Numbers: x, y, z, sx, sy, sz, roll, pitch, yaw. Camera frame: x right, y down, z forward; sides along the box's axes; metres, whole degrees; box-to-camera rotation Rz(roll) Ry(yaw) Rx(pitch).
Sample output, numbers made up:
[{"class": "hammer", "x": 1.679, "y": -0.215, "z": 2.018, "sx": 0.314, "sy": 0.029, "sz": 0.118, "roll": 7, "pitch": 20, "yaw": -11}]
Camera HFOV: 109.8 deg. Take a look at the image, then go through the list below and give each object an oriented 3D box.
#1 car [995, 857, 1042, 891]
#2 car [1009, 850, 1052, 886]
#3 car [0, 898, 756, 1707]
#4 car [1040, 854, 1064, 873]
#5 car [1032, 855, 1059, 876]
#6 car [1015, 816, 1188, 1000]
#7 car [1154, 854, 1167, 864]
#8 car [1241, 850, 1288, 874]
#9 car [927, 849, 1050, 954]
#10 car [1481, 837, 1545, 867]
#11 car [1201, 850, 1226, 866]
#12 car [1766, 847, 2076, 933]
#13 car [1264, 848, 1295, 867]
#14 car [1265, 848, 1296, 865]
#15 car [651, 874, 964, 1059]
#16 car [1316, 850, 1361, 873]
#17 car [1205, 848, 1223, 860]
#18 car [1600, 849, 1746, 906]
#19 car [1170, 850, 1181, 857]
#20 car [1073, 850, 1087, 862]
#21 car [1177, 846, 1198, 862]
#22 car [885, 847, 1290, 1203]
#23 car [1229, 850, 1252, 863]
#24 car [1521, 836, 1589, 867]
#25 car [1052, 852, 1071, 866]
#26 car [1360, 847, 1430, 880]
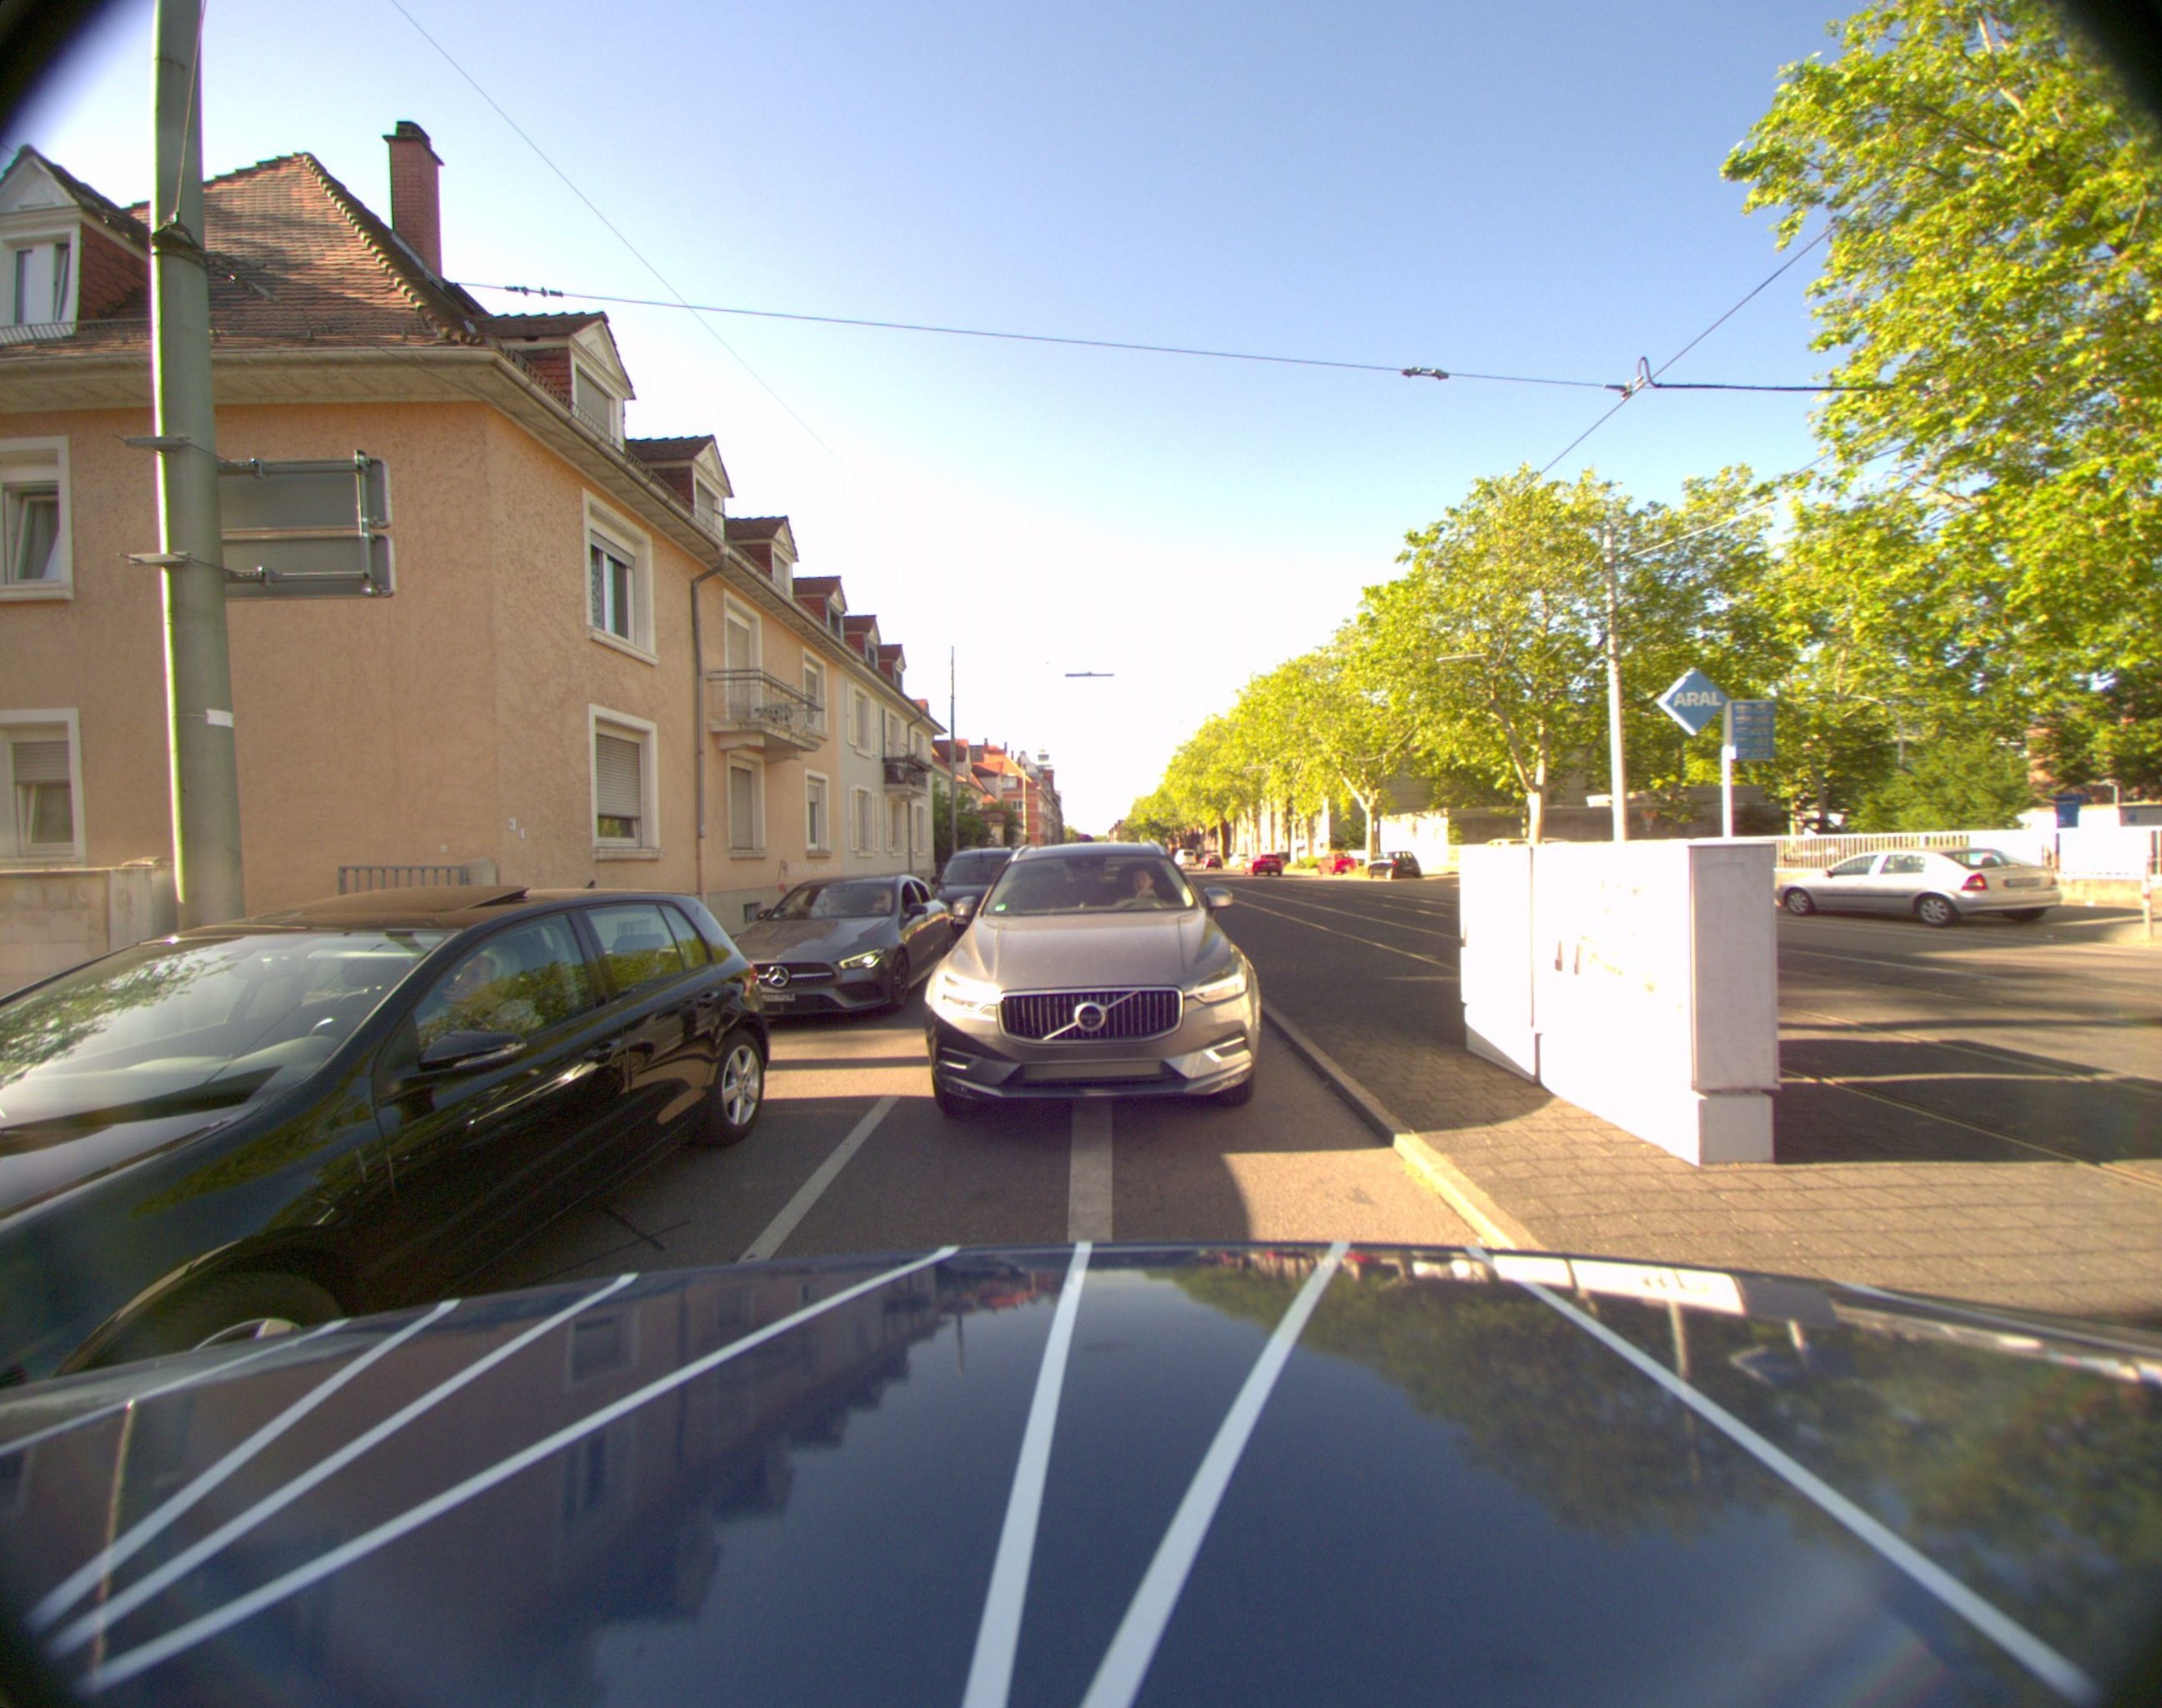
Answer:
[{"class": "car", "x": -2.971, "y": 0.921, "z": 36.674, "sx": 1.841, "sy": 1.449, "sz": 3.999, "roll": -2, "pitch": 1, "yaw": 1}, {"class": "car", "x": -2.887, "y": 0.749, "z": 45.096, "sx": 1.937, "sy": 1.888, "sz": 7.210, "roll": -2, "pitch": 1, "yaw": 1}, {"class": "car", "x": -2.917, "y": 1.010, "z": 2.650, "sx": 1.733, "sy": 1.499, "sz": 4.051, "roll": -2, "pitch": -1, "yaw": 1}, {"class": "car", "x": -2.527, "y": 0.805, "z": 66.993, "sx": 1.841, "sy": 1.449, "sz": 3.999, "roll": -2, "pitch": 1, "yaw": 1}, {"class": "car", "x": -2.823, "y": 0.888, "z": 60.583, "sx": 1.841, "sy": 1.449, "sz": 3.999, "roll": -2, "pitch": 1, "yaw": 1}, {"class": "car", "x": 0.242, "y": 0.599, "z": 11.117, "sx": 1.912, "sy": 2.048, "sz": 4.763, "roll": -2, "pitch": 1, "yaw": 0}, {"class": "car", "x": 13.581, "y": 0.847, "z": 129.459, "sx": 1.764, "sy": 1.487, "sz": 3.999, "roll": -2, "pitch": 1, "yaw": 1}, {"class": "car", "x": 11.984, "y": 0.479, "z": 49.925, "sx": 1.912, "sy": 1.514, "sz": 4.763, "roll": 0, "pitch": 1, "yaw": 0}, {"class": "car", "x": -1.745, "y": 0.828, "z": 15.953, "sx": 1.866, "sy": 1.794, "sz": 4.778, "roll": -2, "pitch": 1, "yaw": 1}, {"class": "car", "x": 21.723, "y": -0.111, "z": 38.328, "sx": 1.545, "sy": 1.412, "sz": 3.151, "roll": -2, "pitch": 1, "yaw": 4}, {"class": "car", "x": 12.591, "y": 0.362, "z": 72.522, "sx": 1.700, "sy": 1.412, "sz": 3.999, "roll": 2, "pitch": 1, "yaw": 1}, {"class": "car", "x": 16.203, "y": 0.602, "z": 15.023, "sx": 1.731, "sy": 1.412, "sz": 3.999, "roll": -2, "pitch": 1, "yaw": 1}, {"class": "car", "x": 17.172, "y": 0.321, "z": 65.988, "sx": 1.700, "sy": 1.566, "sz": 3.999, "roll": -1, "pitch": 1, "yaw": 1}, {"class": "car", "x": 17.289, "y": 0.228, "z": 65.908, "sx": 1.700, "sy": 1.401, "sz": 3.999, "roll": -1, "pitch": 1, "yaw": 1}, {"class": "car", "x": -2.783, "y": 1.063, "z": 9.006, "sx": 1.911, "sy": 1.411, "sz": 4.492, "roll": -2, "pitch": 1, "yaw": 2}, {"class": "car", "x": 16.987, "y": 0.462, "z": 50.344, "sx": 1.700, "sy": 1.460, "sz": 3.999, "roll": -1, "pitch": 1, "yaw": 1}, {"class": "car", "x": 17.667, "y": 0.009, "z": 100.777, "sx": 1.700, "sy": 1.548, "sz": 3.999, "roll": -1, "pitch": 1, "yaw": 1}, {"class": "car", "x": 16.430, "y": 0.606, "z": 21.284, "sx": 1.546, "sy": 1.412, "sz": 3.254, "roll": -2, "pitch": 1, "yaw": 1}, {"class": "car", "x": 18.592, "y": -0.074, "z": 149.559, "sx": 1.700, "sy": 1.401, "sz": 3.999, "roll": -1, "pitch": 1, "yaw": 1}, {"class": "car", "x": -0.155, "y": 0.273, "z": 106.482, "sx": 1.841, "sy": 1.449, "sz": 3.999, "roll": -2, "pitch": 1, "yaw": 1}, {"class": "car", "x": 12.941, "y": -0.055, "z": 92.461, "sx": 1.850, "sy": 1.835, "sz": 4.394, "roll": -1, "pitch": 1, "yaw": -1}, {"class": "car", "x": 0.041, "y": 0.812, "z": 6.089, "sx": 1.912, "sy": 1.666, "sz": 4.763, "roll": -2, "pitch": 1, "yaw": 0}, {"class": "car", "x": 17.520, "y": 0.251, "z": 83.516, "sx": 1.700, "sy": 1.401, "sz": 3.999, "roll": -1, "pitch": 1, "yaw": 1}, {"class": "car", "x": 23.465, "y": -0.144, "z": 37.722, "sx": 1.545, "sy": 1.412, "sz": 3.151, "roll": -2, "pitch": 1, "yaw": 4}, {"class": "car", "x": -2.179, "y": 0.586, "z": 85.430, "sx": 1.841, "sy": 1.449, "sz": 3.999, "roll": -2, "pitch": 1, "yaw": 1}, {"class": "car", "x": 16.865, "y": 0.476, "z": 41.079, "sx": 1.753, "sy": 1.514, "sz": 4.434, "roll": -5, "pitch": 1, "yaw": -1}]
